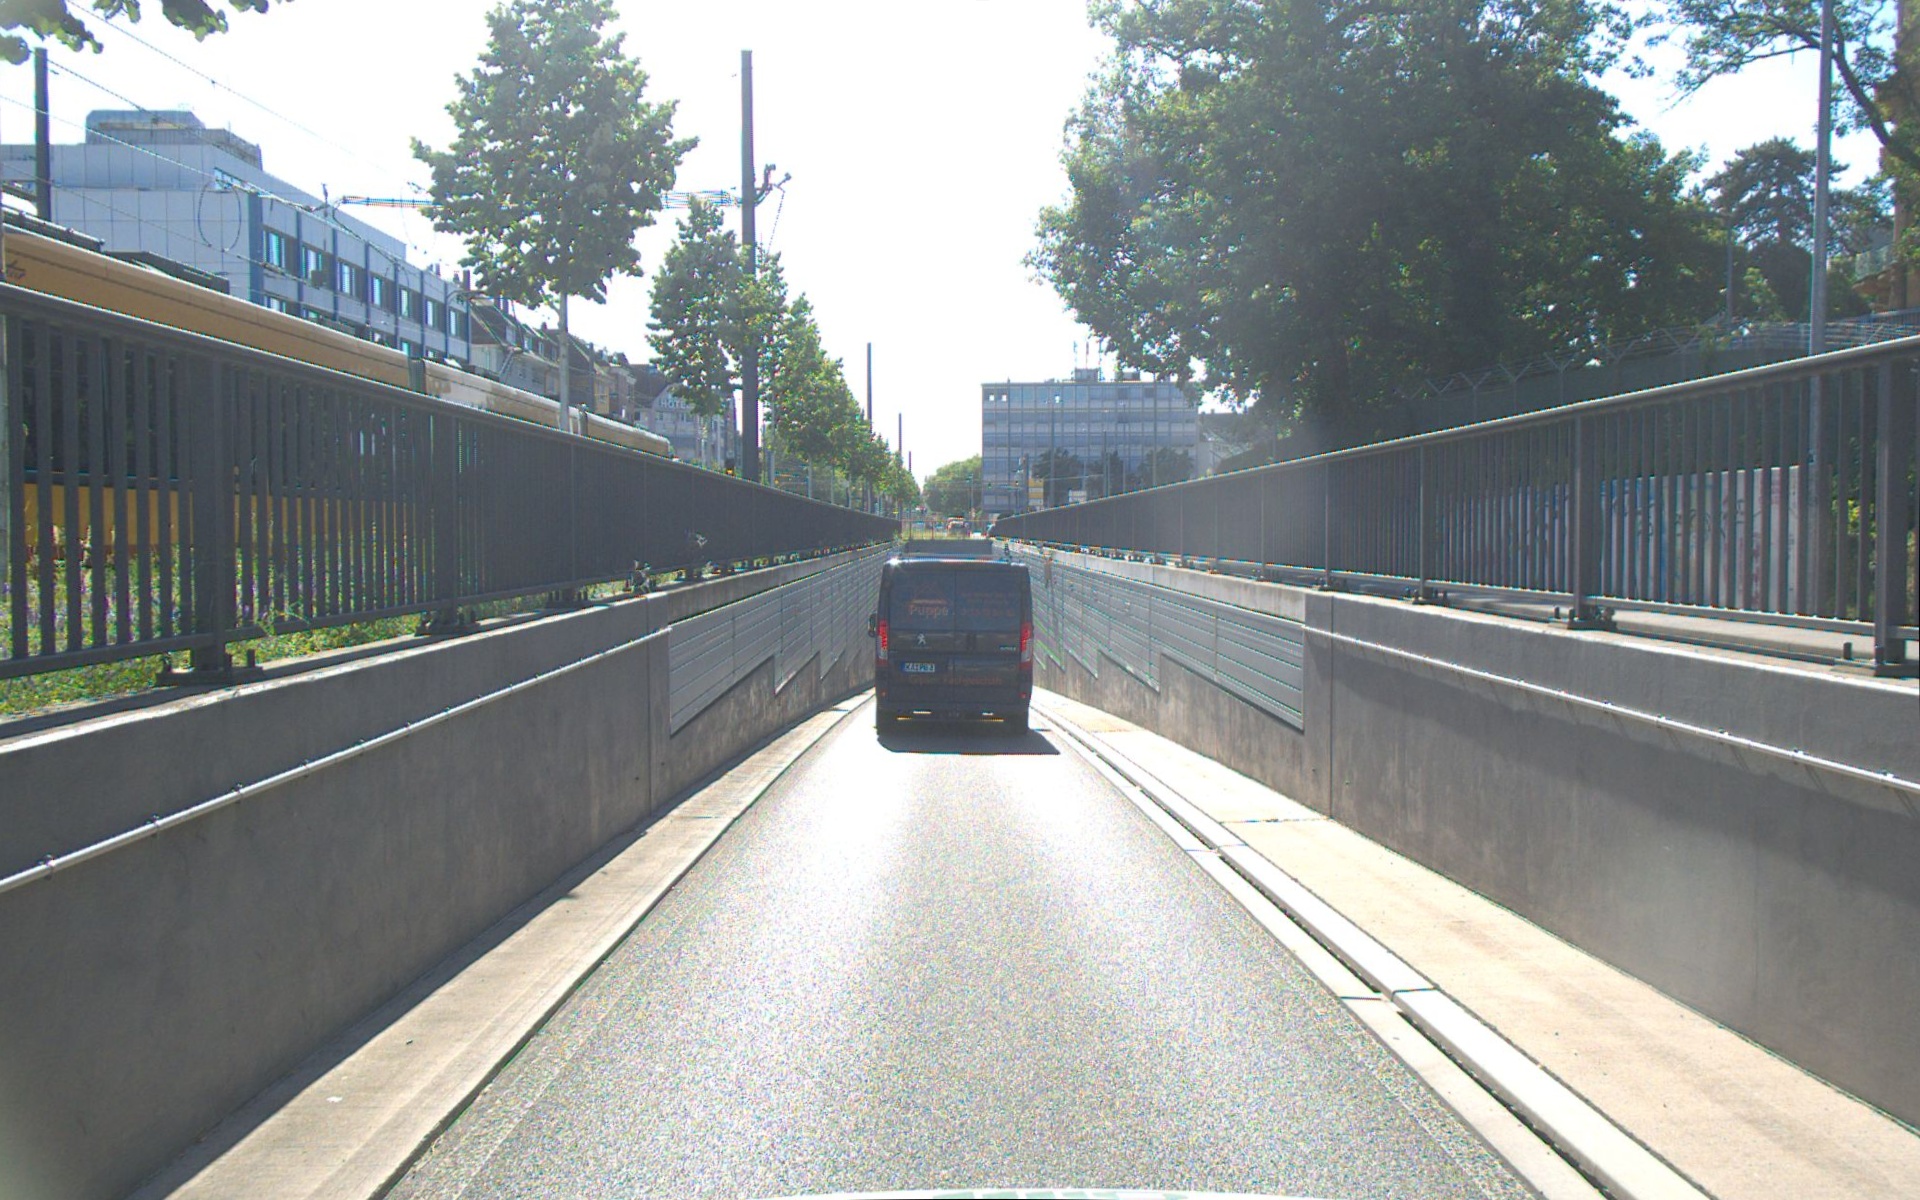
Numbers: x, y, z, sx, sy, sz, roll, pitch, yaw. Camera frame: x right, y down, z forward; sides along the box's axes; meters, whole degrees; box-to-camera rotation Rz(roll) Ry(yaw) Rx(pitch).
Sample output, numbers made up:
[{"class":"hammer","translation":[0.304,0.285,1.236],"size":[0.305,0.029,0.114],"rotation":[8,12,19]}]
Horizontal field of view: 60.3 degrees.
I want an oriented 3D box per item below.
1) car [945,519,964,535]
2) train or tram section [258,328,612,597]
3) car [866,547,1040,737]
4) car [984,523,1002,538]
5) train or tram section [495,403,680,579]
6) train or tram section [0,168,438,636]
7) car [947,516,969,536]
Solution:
[{"class":"car","translation":[-0.567,-7.144,162.215],"size":[1.705,1.589,4.000],"rotation":[0,2,-2]},{"class":"train or tram section","translation":[-9.106,-2.237,30.898],"size":[2.557,3.887,13.091],"rotation":[1,2,-1]},{"class":"car","translation":[-0.086,0.554,22.708],"size":[2.114,2.306,4.636],"rotation":[1,-1,0]},{"class":"car","translation":[3.329,-7.038,167.292],"size":[1.705,1.446,4.000],"rotation":[0,2,-2]},{"class":"train or tram section","translation":[-9.264,-2.632,42.418],"size":[2.559,3.921,9.971],"rotation":[1,2,-1]},{"class":"train or tram section","translation":[-8.958,-1.751,17.671],"size":[2.557,3.719,13.343],"rotation":[1,2,0]},{"class":"car","translation":[-0.178,-5.999,134.390],"size":[1.705,1.589,4.000],"rotation":[0,2,-2]}]
